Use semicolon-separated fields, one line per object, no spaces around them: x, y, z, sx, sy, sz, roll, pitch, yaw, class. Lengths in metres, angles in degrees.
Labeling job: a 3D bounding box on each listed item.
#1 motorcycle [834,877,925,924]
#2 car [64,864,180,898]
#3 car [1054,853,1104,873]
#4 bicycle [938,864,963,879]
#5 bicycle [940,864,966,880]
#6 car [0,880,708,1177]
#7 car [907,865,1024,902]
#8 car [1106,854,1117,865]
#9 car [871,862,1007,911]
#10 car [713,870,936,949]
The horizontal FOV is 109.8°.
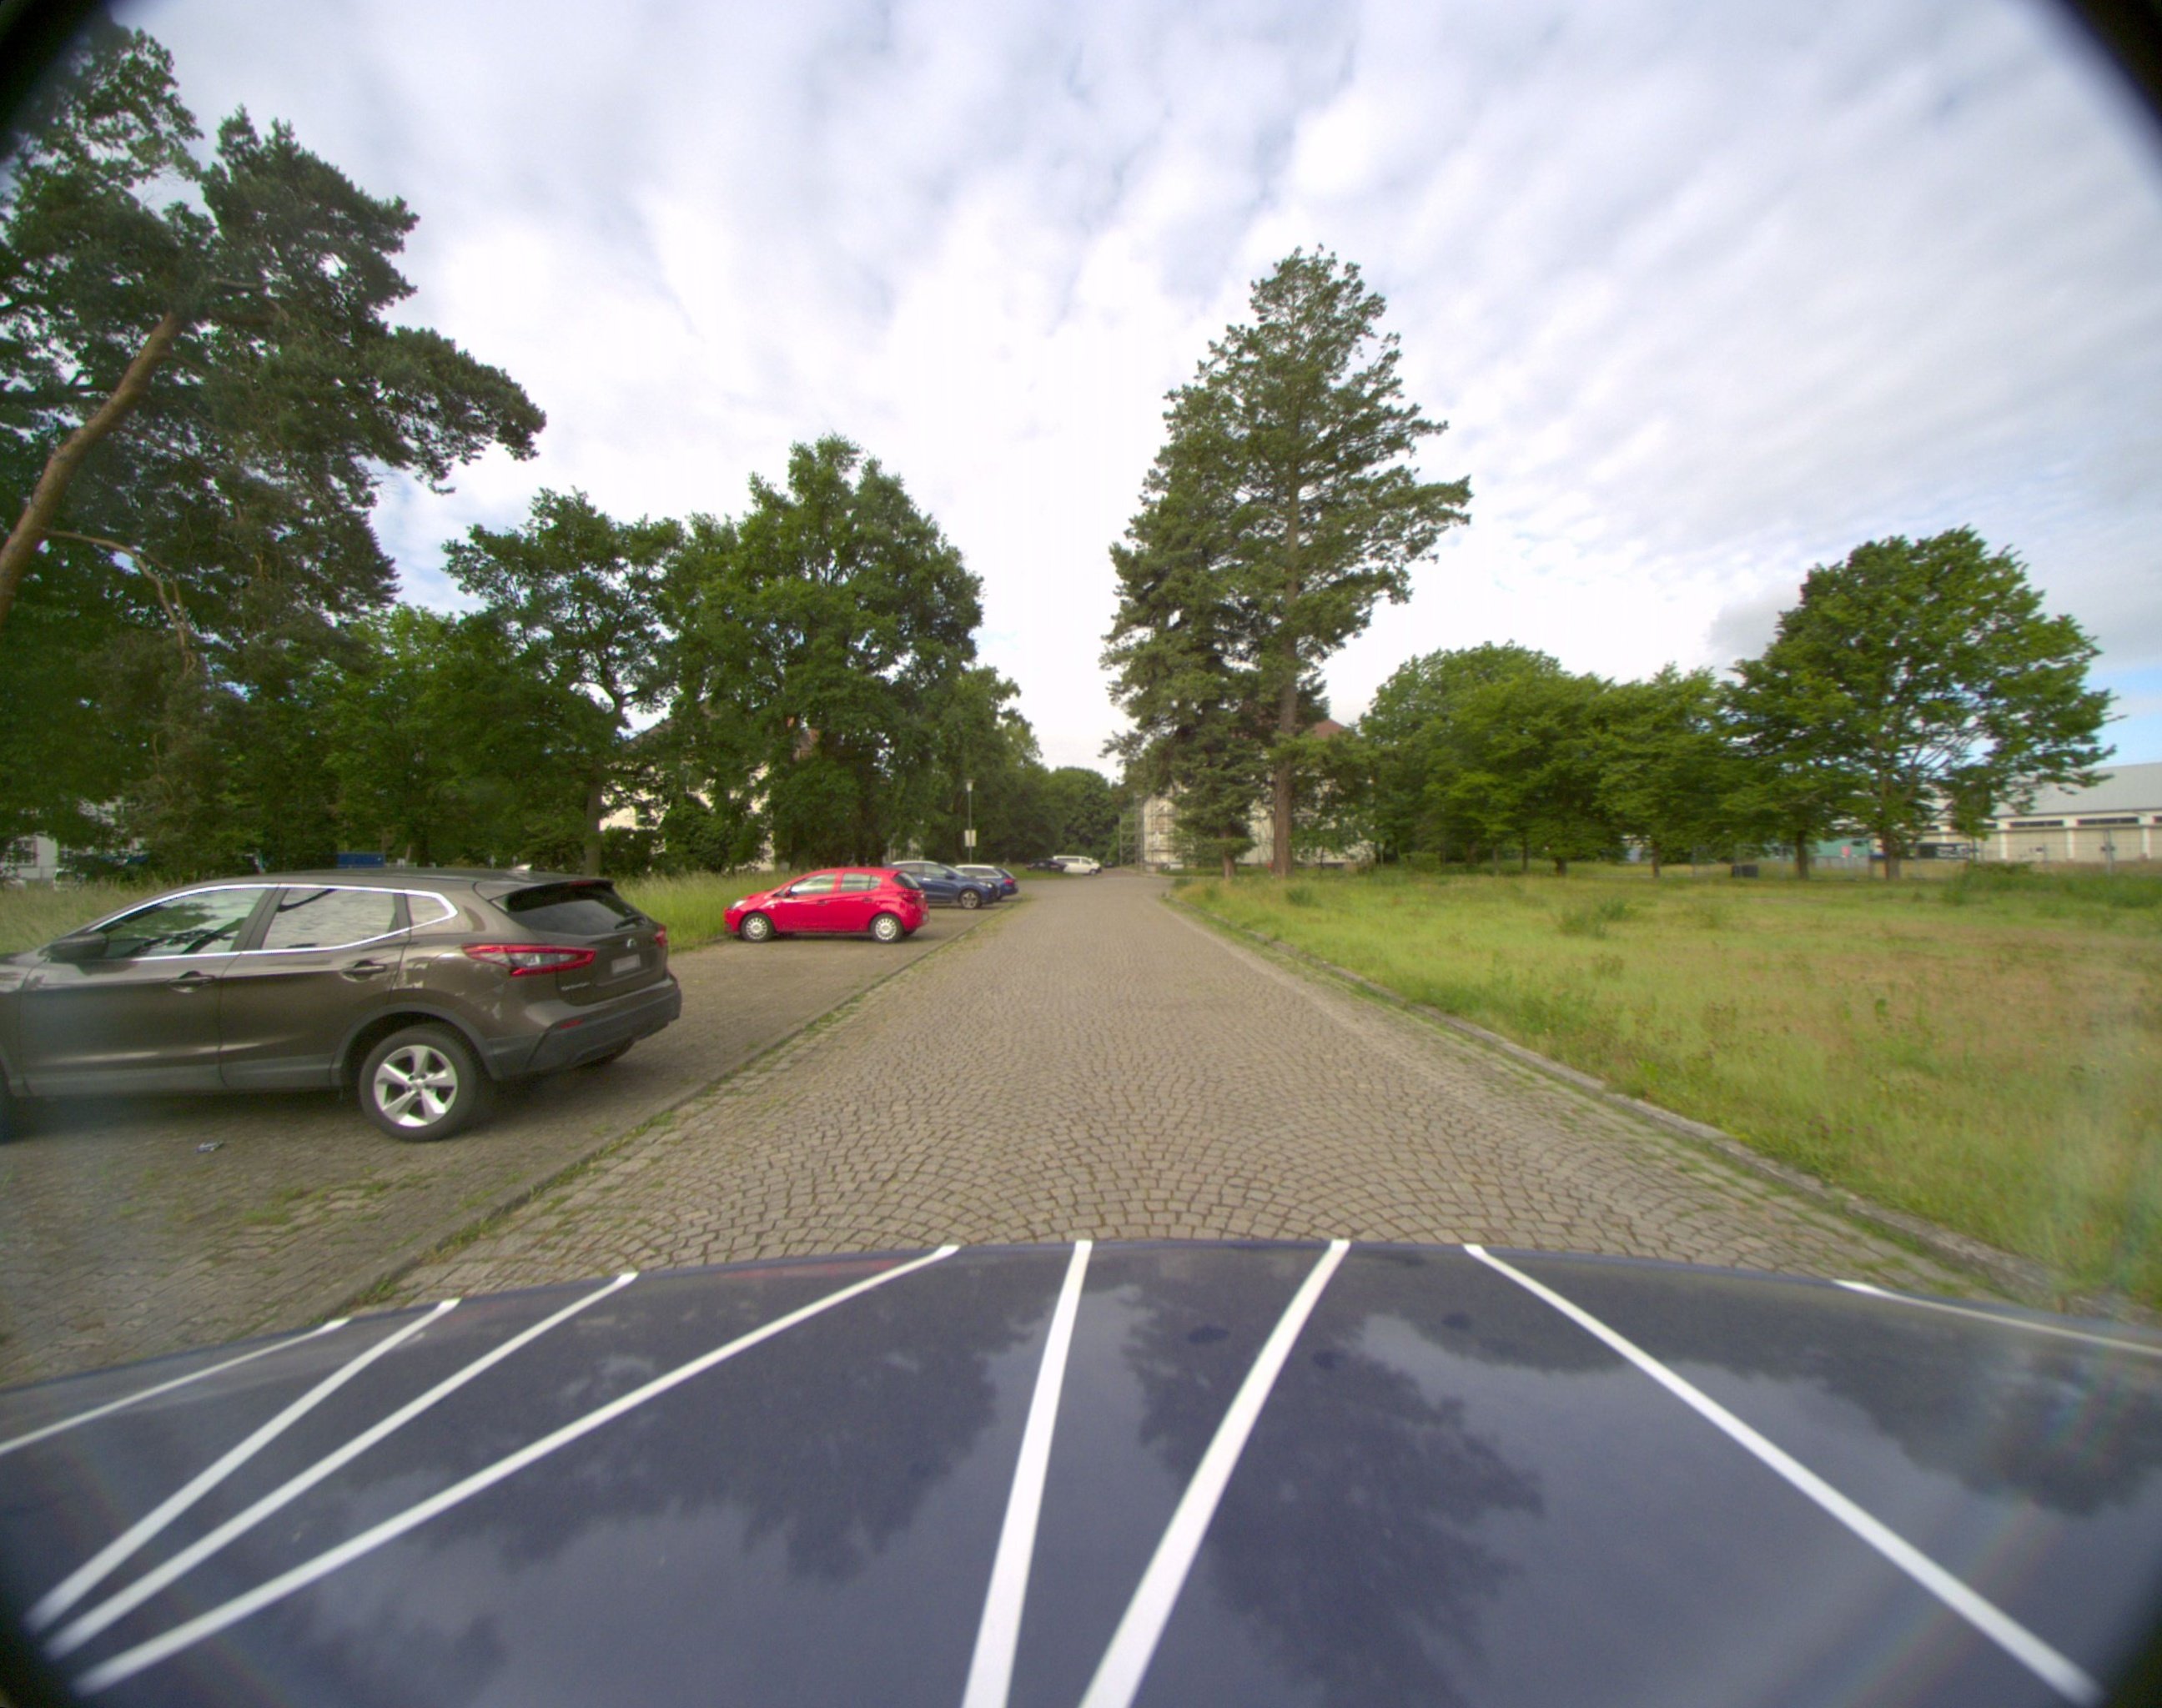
-5.297;1.212;20.005;2.236;1.195;0.568;0;0;-1;motorcycle
-67.981;1.868;53.985;1.922;2.290;4.940;-1;0;1;car
-0.176;0.948;79.318;5.149;2.002;2.000;0;0;0;car
-10.805;1.449;62.828;1.941;1.163;0.487;-3;1;-21;bicycle
-10.222;1.431;60.575;1.942;1.163;0.487;-3;1;-24;bicycle
-5.151;1.001;5.202;4.215;1.585;1.953;0;0;-2;car
-4.578;1.158;30.549;4.367;1.430;1.927;0;0;3;car
5.886;1.012;145.689;1.962;2.002;4.260;0;0;-1;car
-4.741;1.069;25.809;4.256;1.613;1.886;0;0;-1;car
-5.102;1.094;15.508;3.933;1.488;1.785;0;0;-1;car
